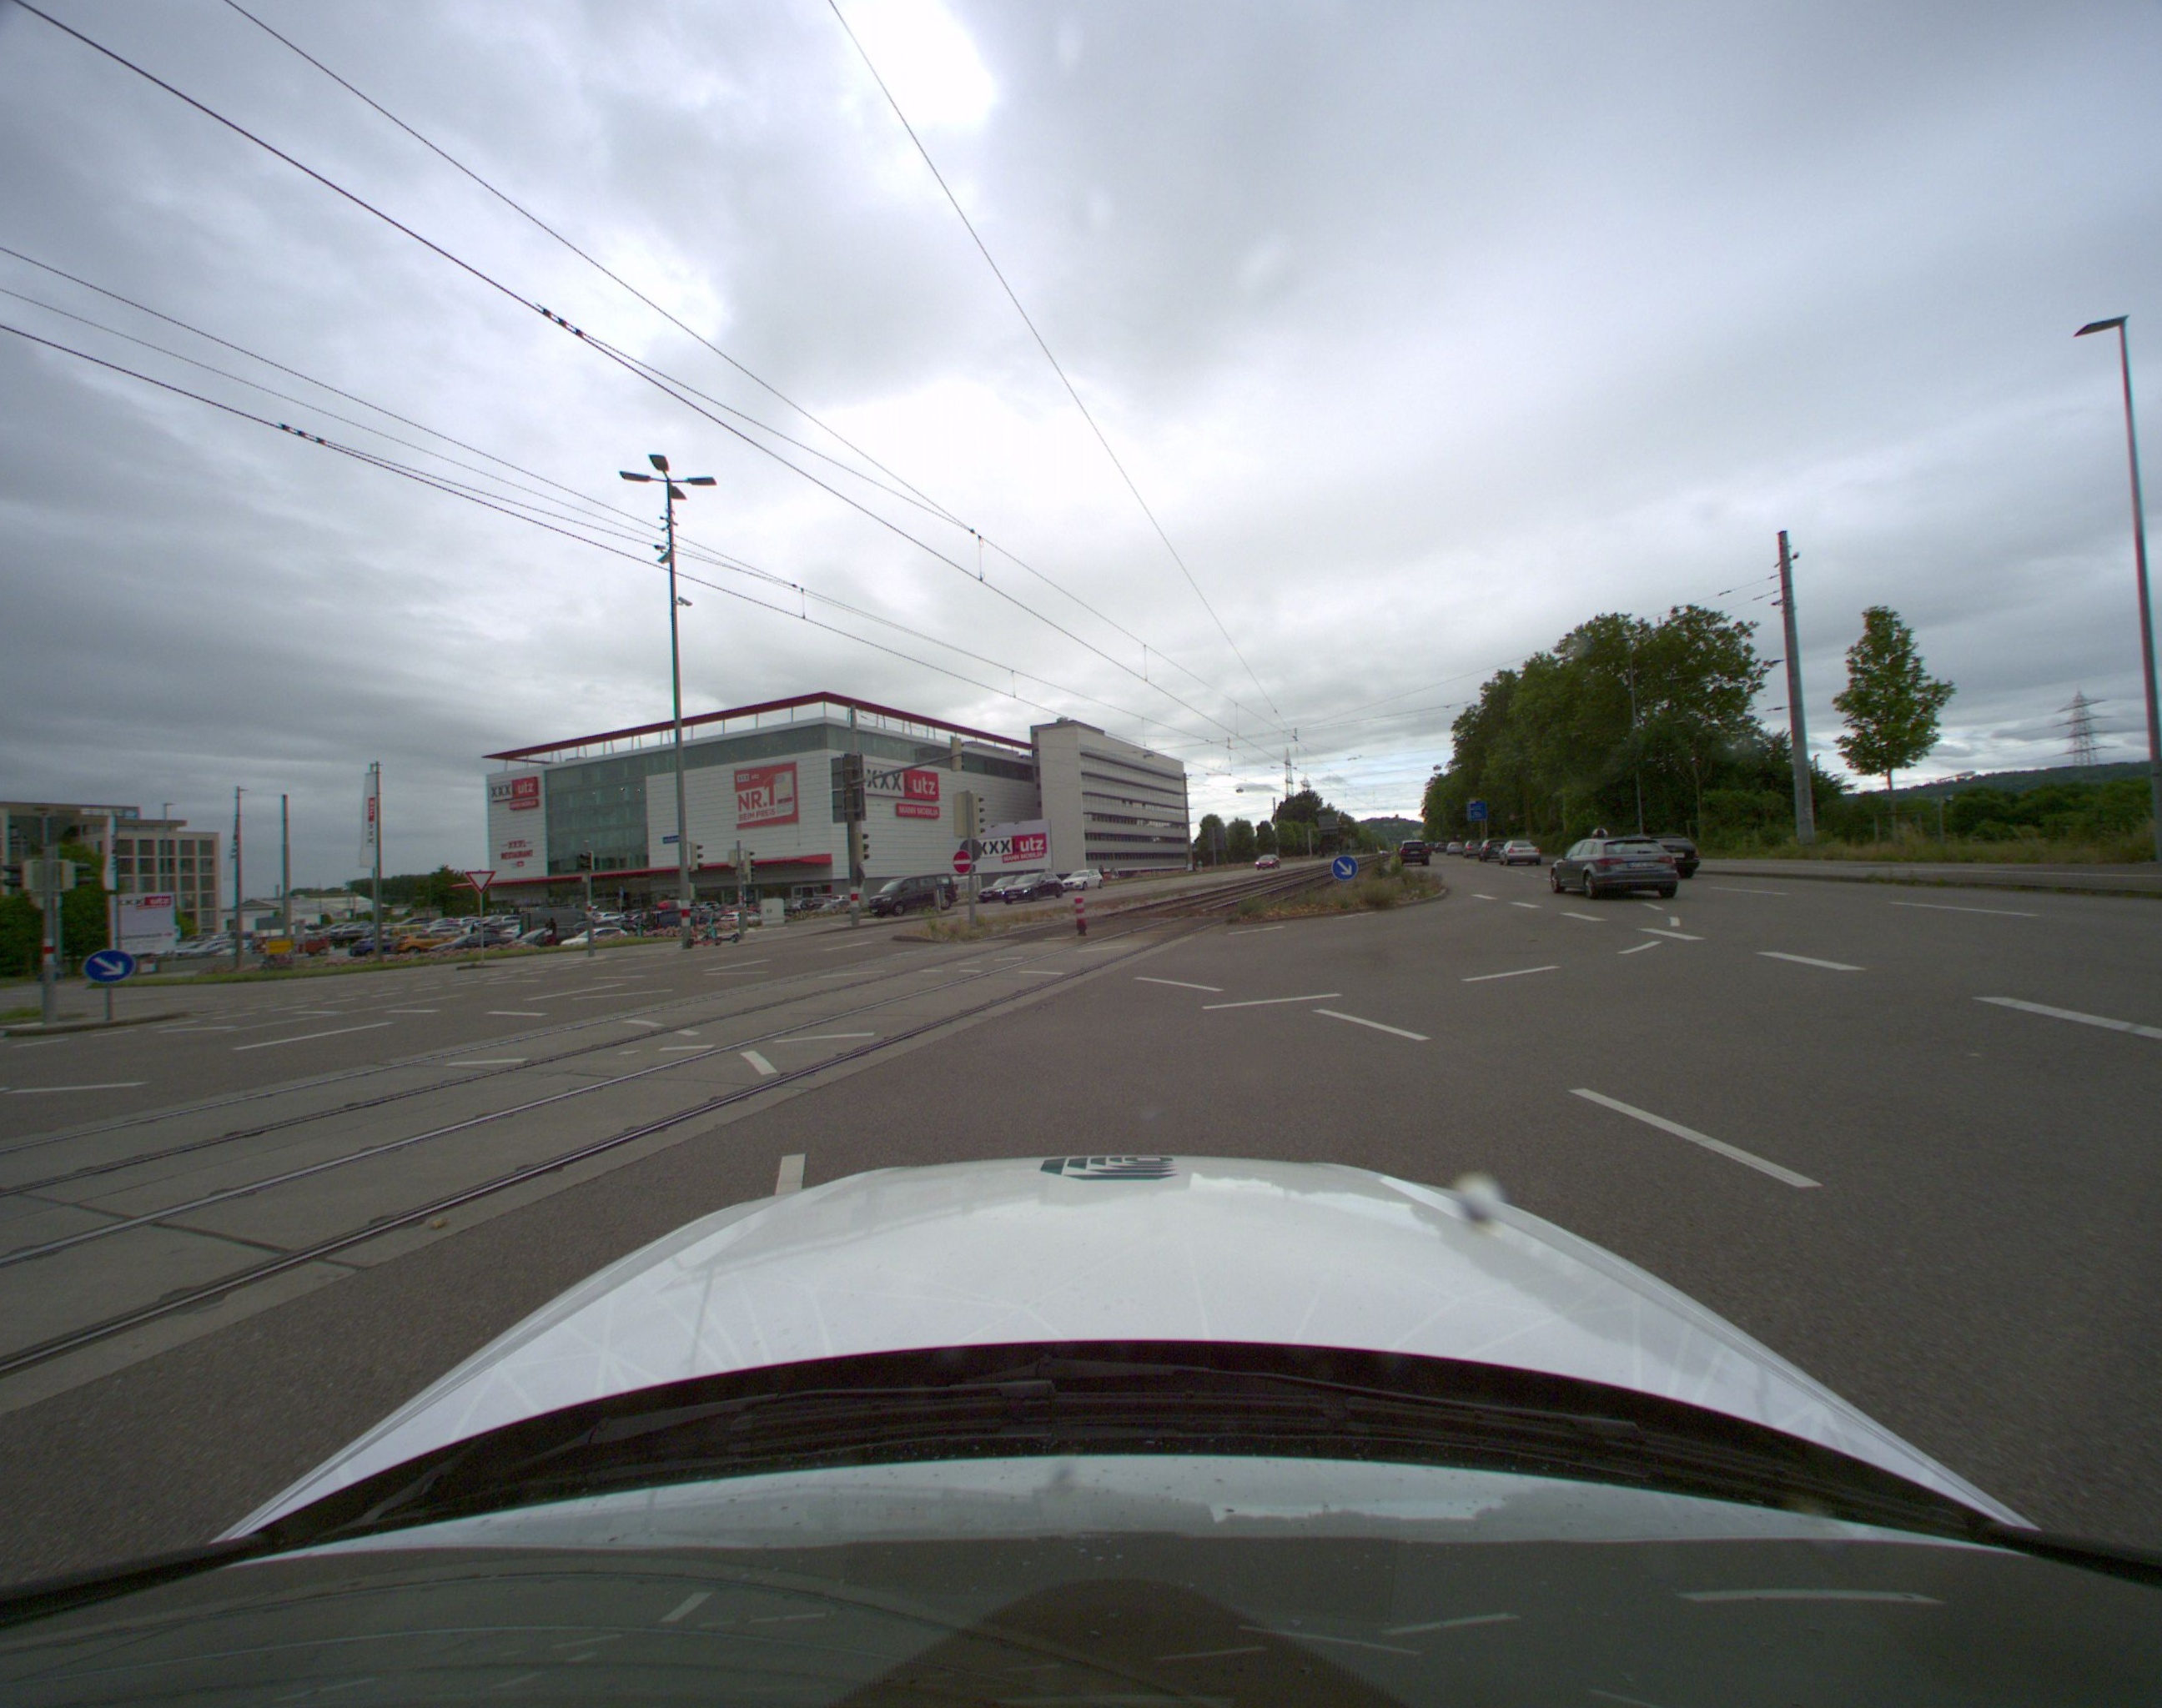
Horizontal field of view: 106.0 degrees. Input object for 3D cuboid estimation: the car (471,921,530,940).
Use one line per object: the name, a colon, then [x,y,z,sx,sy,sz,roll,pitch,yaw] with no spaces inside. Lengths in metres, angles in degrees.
car: [-55.239,7.298,77.570,1.717,1.469,4.278,-3,-2,27]

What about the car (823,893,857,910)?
car: [-27.832,5.477,94.212,1.630,1.560,3.638,-4,-1,26]

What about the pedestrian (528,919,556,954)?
pedestrian: [-26.548,4.069,40.103,0.710,1.597,0.786,-7,-3,12]

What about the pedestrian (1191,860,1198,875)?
pedestrian: [13.184,1.540,94.479,0.618,1.654,0.539,-1,-2,-35]

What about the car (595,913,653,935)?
car: [-39.801,6.083,71.047,1.831,1.556,4.023,-5,-3,26]

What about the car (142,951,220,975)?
car: [-76.013,9.213,68.830,1.741,1.541,4.091,-3,-2,27]

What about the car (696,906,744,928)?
car: [-35.453,6.183,80.134,1.810,1.862,4.023,-5,-2,26]

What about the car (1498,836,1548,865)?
car: [24.634,-0.198,45.484,1.714,1.509,3.649,-2,0,17]

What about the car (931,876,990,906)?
car: [-12.987,3.985,88.545,2.734,2.990,6.991,-3,-2,26]

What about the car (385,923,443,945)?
car: [-61.781,7.379,75.447,1.712,1.768,3.771,-3,-2,27]

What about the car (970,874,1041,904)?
car: [-4.418,2.056,48.382,1.943,1.464,4.349,-5,-1,30]

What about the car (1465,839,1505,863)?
car: [28.217,-0.175,56.936,1.842,1.561,4.337,-1,-1,18]

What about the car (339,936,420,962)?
car: [-50.679,6.866,58.921,1.792,1.455,4.023,-5,-3,26]

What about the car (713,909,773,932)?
car: [-26.668,5.233,64.384,1.723,1.476,4.236,-5,-2,27]

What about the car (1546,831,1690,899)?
car: [12.841,0.243,19.782,1.724,1.401,4.094,-3,-1,16]

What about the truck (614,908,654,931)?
truck: [-50.753,7.406,92.479,1.718,2.387,3.600,-5,-3,24]

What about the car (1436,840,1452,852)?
car: [50.221,-1.069,112.628,1.799,1.481,3.690,-2,-2,21]

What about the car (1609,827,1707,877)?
car: [19.068,-0.026,27.112,1.719,1.479,4.342,-2,-2,23]

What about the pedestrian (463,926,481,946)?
pedestrian: [-54.565,7.310,72.962,0.875,1.720,0.947,-3,-2,24]

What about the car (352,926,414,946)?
car: [-66.153,7.803,77.267,1.865,1.534,4.022,-5,-3,24]

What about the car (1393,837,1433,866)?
car: [21.113,-0.148,51.959,1.818,1.636,4.335,-3,-1,16]

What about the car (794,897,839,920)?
car: [-26.558,5.445,81.867,1.925,1.929,4.024,-5,-2,27]

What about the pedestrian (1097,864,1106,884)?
pedestrian: [1.929,1.863,76.198,0.692,1.791,0.643,-2,-2,4]

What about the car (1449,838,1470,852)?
car: [42.692,-0.996,91.961,1.799,1.481,3.690,-2,-2,21]

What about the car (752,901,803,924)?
car: [-28.673,5.499,77.102,1.841,1.781,4.249,-5,-1,27]

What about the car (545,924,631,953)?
car: [-30.081,5.125,49.791,1.853,1.446,4.143,-3,-2,24]

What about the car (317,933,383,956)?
car: [-70.869,8.748,78.996,1.865,1.744,4.352,-3,-2,28]

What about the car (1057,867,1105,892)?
car: [0.038,1.782,57.322,1.712,1.539,4.069,-3,-1,25]

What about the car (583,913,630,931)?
car: [-50.678,7.244,87.077,1.812,1.655,4.022,-5,-3,24]

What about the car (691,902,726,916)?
car: [-47.777,7.020,104.421,1.808,1.554,3.827,-3,-2,24]

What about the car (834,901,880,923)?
car: [-19.999,5.130,72.847,1.863,1.666,4.021,-4,-2,22]

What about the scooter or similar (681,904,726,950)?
scooter or similar: [-11.192,2.154,24.179,0.458,1.256,1.025,-8,-3,38]

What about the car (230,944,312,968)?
car: [-66.563,8.357,67.008,1.936,1.461,4.415,-3,-2,27]

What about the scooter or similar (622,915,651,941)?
scooter or similar: [-22.233,3.702,40.756,1.163,1.233,0.344,-4,-4,-14]

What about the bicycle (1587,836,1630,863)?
bicycle: [24.970,-0.229,38.590,0.811,1.185,2.531,-5,0,13]

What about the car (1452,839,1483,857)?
car: [34.755,-0.501,73.351,1.842,1.561,4.335,-1,-1,16]

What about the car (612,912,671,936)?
car: [-37.547,5.954,69.661,1.862,1.670,4.024,-5,-2,27]

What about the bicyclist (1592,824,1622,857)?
bicyclist: [24.888,-0.647,38.560,0.811,1.478,1.004,-5,0,12]

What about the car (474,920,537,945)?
car: [-48.850,6.643,69.252,1.809,1.654,3.926,-4,-1,23]

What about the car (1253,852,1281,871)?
car: [19.133,0.740,83.560,1.975,1.728,4.023,-5,-1,24]

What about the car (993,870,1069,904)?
car: [-2.536,1.686,42.426,1.814,1.464,4.234,-3,0,30]

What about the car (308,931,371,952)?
car: [-73.105,8.654,80.389,1.810,1.664,4.211,-5,-3,28]

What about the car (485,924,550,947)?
car: [-46.682,6.748,67.524,1.840,1.552,4.024,-5,-3,27]

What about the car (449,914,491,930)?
car: [-73.059,8.085,97.383,1.717,1.587,3.602,-5,-3,29]

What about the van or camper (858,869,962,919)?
van or camper: [-8.782,2.043,42.118,2.096,2.013,4.783,-8,-3,41]

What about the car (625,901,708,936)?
car: [-30.884,4.774,60.832,2.095,2.165,5.083,-5,-2,30]

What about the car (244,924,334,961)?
car: [-63.918,7.110,65.835,2.143,2.579,4.766,-3,-2,27]

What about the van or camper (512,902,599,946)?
van or camper: [-42.160,5.574,65.432,1.965,2.984,5.432,-6,-3,33]

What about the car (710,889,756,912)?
car: [-36.345,4.810,85.181,1.975,2.013,4.024,-5,-1,26]

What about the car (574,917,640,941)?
car: [-37.181,5.877,63.996,1.922,1.556,4.025,-6,-3,31]

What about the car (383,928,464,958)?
car: [-46.112,6.229,57.189,1.792,1.643,4.025,-5,-3,29]

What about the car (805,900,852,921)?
car: [-22.714,5.056,73.400,1.811,1.516,4.021,-5,-2,22]

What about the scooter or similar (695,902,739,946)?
scooter or similar: [-11.372,2.168,25.464,0.316,1.256,1.123,-7,-3,38]

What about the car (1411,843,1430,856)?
car: [40.103,-0.489,96.162,1.733,1.431,3.390,-2,0,17]
